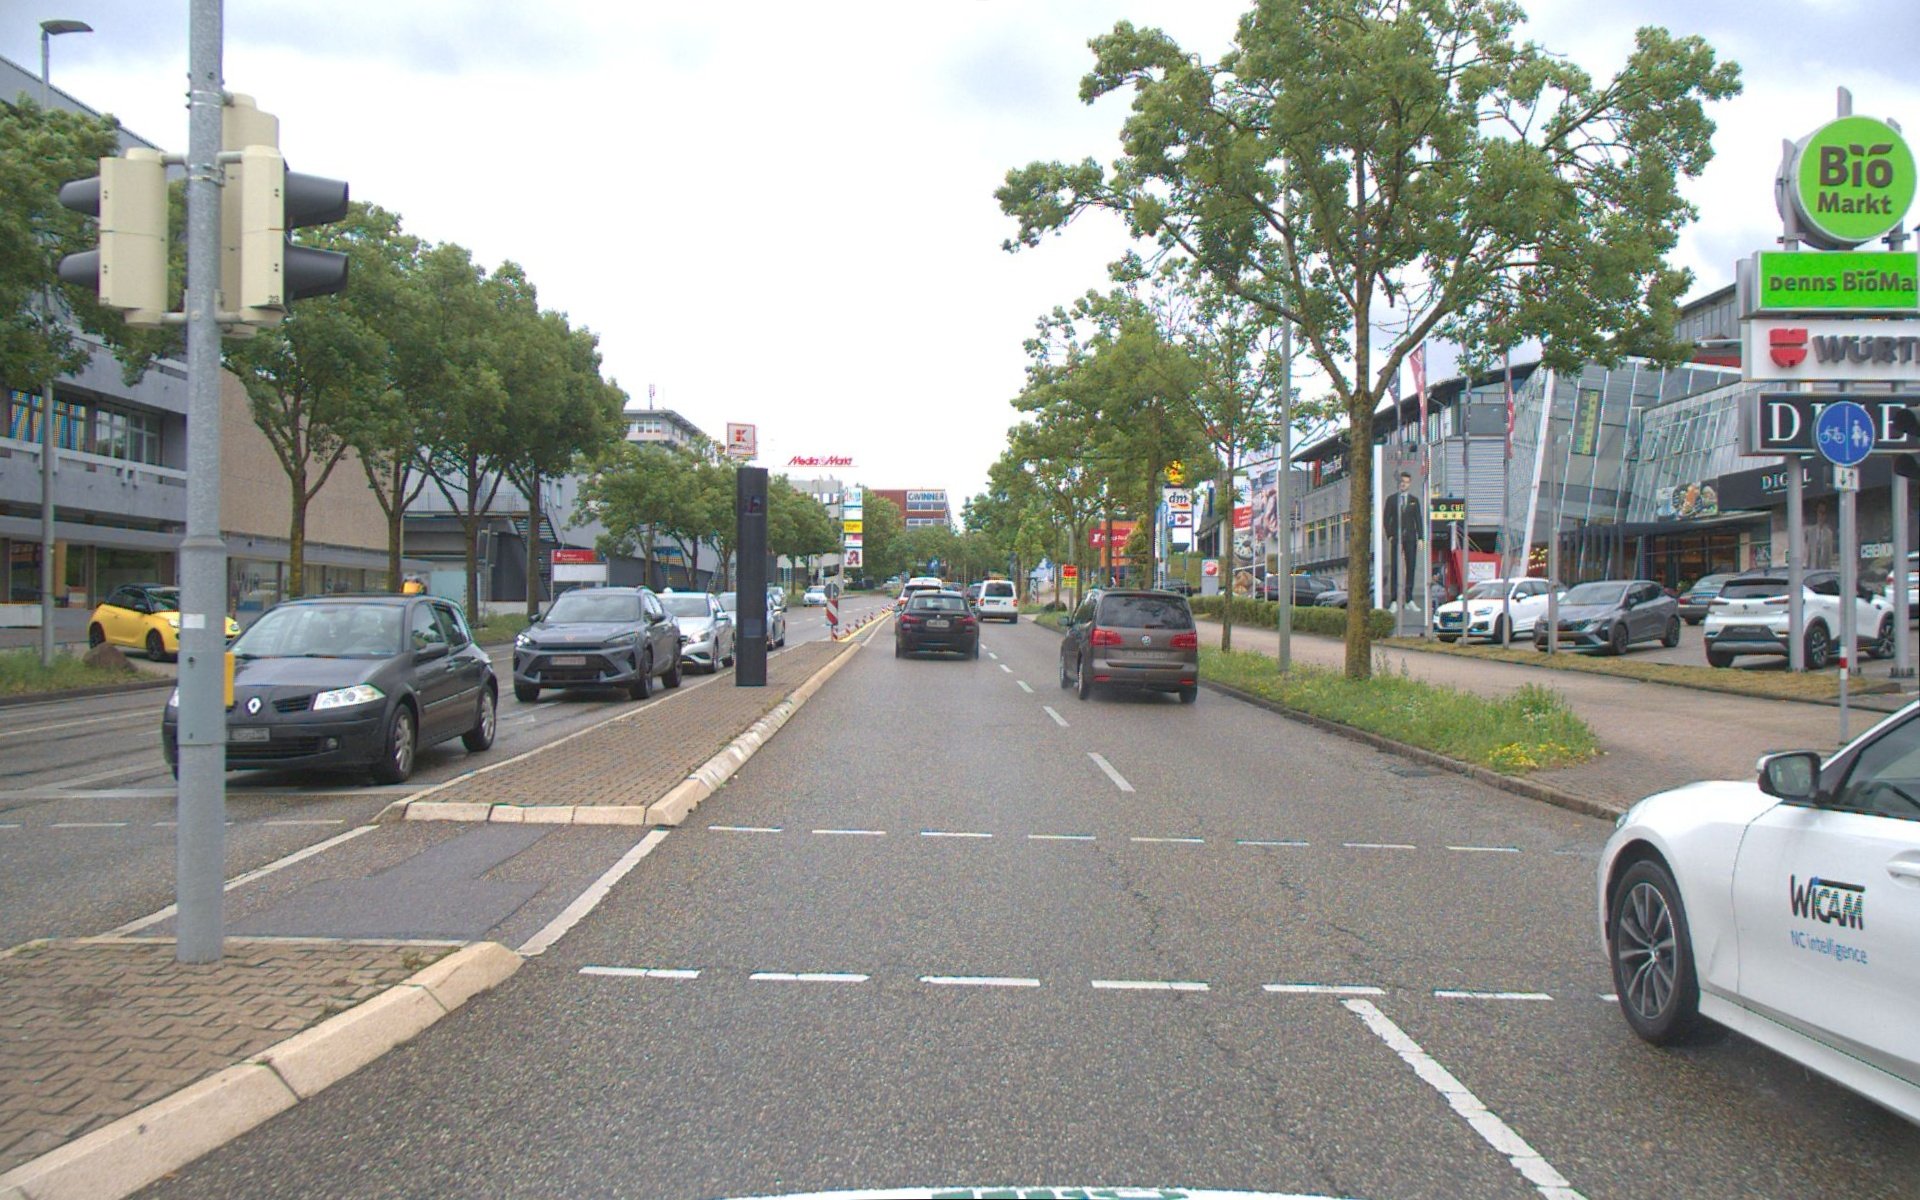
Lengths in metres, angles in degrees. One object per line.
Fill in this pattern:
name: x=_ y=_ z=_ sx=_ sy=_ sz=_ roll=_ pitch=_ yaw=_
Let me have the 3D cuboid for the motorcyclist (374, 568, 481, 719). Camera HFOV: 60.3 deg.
motorcyclist: x=-5.785 y=0.454 z=18.030 sx=0.790 sy=1.586 sz=1.267 roll=0 pitch=0 yaw=-2

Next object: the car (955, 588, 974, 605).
car: x=0.390 y=-0.301 z=151.924 sx=1.587 sy=1.521 sz=3.359 roll=2 pitch=-1 yaw=-1

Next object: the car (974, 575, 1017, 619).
car: x=1.527 y=-0.124 z=72.409 sx=1.745 sy=1.899 sz=3.999 roll=0 pitch=0 yaw=-1

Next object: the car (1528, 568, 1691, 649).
car: x=13.266 y=0.164 z=33.713 sx=3.565 sy=1.563 sz=1.620 roll=0 pitch=0 yaw=-40

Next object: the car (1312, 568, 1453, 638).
car: x=13.338 y=0.083 z=52.330 sx=4.026 sy=2.142 sz=1.800 roll=0 pitch=0 yaw=1

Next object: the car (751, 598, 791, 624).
car: x=-10.847 y=0.617 z=95.335 sx=1.904 sy=1.478 sz=3.999 roll=1 pitch=0 yaw=-1

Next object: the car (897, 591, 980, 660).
car: x=-0.477 y=0.542 z=36.926 sx=1.745 sy=1.422 sz=3.999 roll=1 pitch=0 yaw=-1

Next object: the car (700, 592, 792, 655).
car: x=-5.272 y=0.561 z=41.247 sx=1.688 sy=1.422 sz=4.788 roll=-2 pitch=0 yaw=-1

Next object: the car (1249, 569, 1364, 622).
car: x=13.209 y=-0.183 z=63.213 sx=4.026 sy=1.938 sz=1.800 roll=-1 pitch=0 yaw=1

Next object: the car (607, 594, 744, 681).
car: x=-5.231 y=0.642 z=30.988 sx=1.803 sy=1.401 sz=4.861 roll=-3 pitch=0 yaw=-2

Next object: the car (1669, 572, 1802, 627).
car: x=22.142 y=-0.032 z=47.183 sx=4.114 sy=1.494 sz=1.806 roll=-1 pitch=0 yaw=-39

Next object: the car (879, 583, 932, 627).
car: x=-1.837 y=0.151 z=54.895 sx=1.649 sy=1.401 sz=3.997 roll=0 pitch=0 yaw=-4

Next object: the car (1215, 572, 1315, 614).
car: x=12.968 y=-0.313 z=70.525 sx=4.024 sy=1.733 sz=1.801 roll=0 pitch=0 yaw=5

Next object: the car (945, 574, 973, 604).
car: x=-0.055 y=-0.666 z=103.416 sx=1.650 sy=1.713 sz=3.402 roll=2 pitch=-1 yaw=0

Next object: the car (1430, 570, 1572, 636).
car: x=13.569 y=0.052 z=41.417 sx=3.565 sy=1.563 sz=1.771 roll=-1 pitch=0 yaw=-40

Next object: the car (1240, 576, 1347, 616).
car: x=13.328 y=-0.178 z=66.239 sx=4.024 sy=1.563 sz=1.801 roll=0 pitch=0 yaw=5

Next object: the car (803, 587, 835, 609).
car: x=-9.897 y=-0.145 z=116.318 sx=1.904 sy=1.474 sz=3.999 roll=1 pitch=0 yaw=-1

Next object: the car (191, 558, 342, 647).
car: x=-17.158 y=0.091 z=41.143 sx=1.953 sy=2.049 sz=4.000 roll=2 pitch=-1 yaw=0

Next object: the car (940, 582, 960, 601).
car: x=-0.851 y=-0.683 z=136.535 sx=1.562 sy=1.500 sz=3.443 roll=2 pitch=-1 yaw=-1

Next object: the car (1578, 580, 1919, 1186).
car: x=3.394 y=0.764 z=4.358 sx=1.764 sy=1.571 sz=4.619 roll=2 pitch=0 yaw=0

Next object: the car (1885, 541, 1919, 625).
car: x=22.386 y=-0.373 z=36.929 sx=4.115 sy=1.802 sz=1.713 roll=0 pitch=0 yaw=-40

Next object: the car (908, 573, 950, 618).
car: x=-1.484 y=-0.181 z=80.714 sx=1.953 sy=2.049 sz=3.999 roll=2 pitch=-1 yaw=0

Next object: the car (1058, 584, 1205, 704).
car: x=2.517 y=0.611 z=25.244 sx=1.764 sy=1.615 sz=4.451 roll=2 pitch=0 yaw=0

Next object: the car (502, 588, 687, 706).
car: x=-5.114 y=0.597 z=23.766 sx=1.709 sy=1.515 sz=4.827 roll=0 pitch=0 yaw=-2

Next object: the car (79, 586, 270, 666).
car: x=-16.422 y=0.522 z=34.550 sx=3.917 sy=1.579 sz=1.894 roll=0 pitch=0 yaw=34

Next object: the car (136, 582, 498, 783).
car: x=-5.089 y=0.578 z=13.668 sx=1.649 sy=1.401 sz=3.997 roll=0 pitch=0 yaw=-4

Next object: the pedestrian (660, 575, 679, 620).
pedestrian: x=-14.426 y=-0.125 z=82.079 sx=0.842 sy=2.257 sz=0.845 roll=0 pitch=0 yaw=-4

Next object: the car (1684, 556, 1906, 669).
car: x=14.165 y=0.162 z=27.973 sx=3.990 sy=1.692 sz=1.954 roll=-3 pitch=1 yaw=-40
